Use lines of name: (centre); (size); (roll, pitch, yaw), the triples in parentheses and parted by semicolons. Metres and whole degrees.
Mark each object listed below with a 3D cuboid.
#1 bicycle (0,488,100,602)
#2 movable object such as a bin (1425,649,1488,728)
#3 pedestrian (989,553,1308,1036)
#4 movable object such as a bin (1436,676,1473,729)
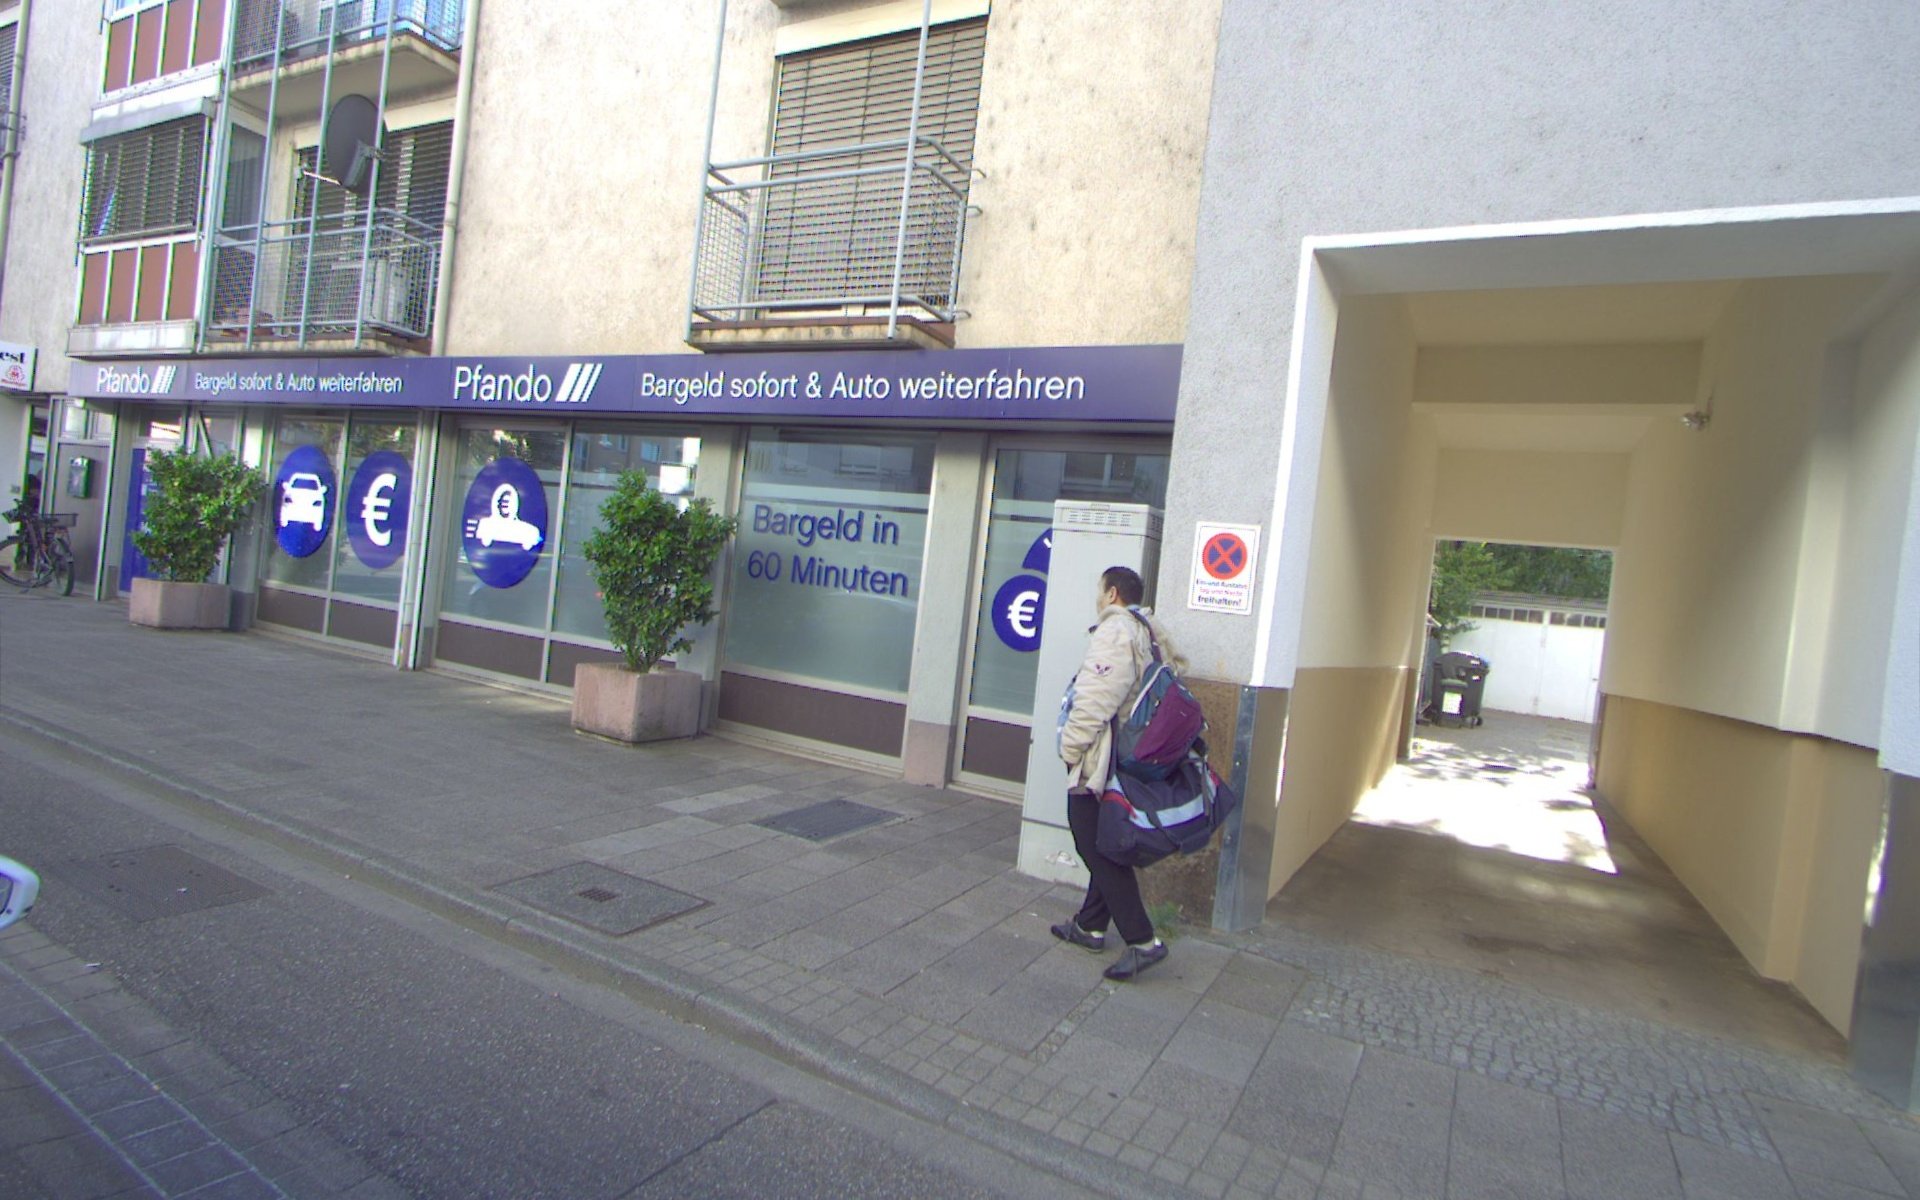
bicycle: (-11.840, -0.733, 12.877); (1.879, 1.280, 0.640); (7, 1, 32)
movable object such as a bin: (10.117, 1.777, 20.455); (0.945, 1.426, 1.598); (7, 1, 29)
pedestrian: (0.773, 0.673, 4.015); (0.853, 1.593, 0.874); (8, 3, 29)
movable object such as a bin: (9.565, 1.970, 19.452); (0.518, 0.922, 0.580); (7, 1, 29)
